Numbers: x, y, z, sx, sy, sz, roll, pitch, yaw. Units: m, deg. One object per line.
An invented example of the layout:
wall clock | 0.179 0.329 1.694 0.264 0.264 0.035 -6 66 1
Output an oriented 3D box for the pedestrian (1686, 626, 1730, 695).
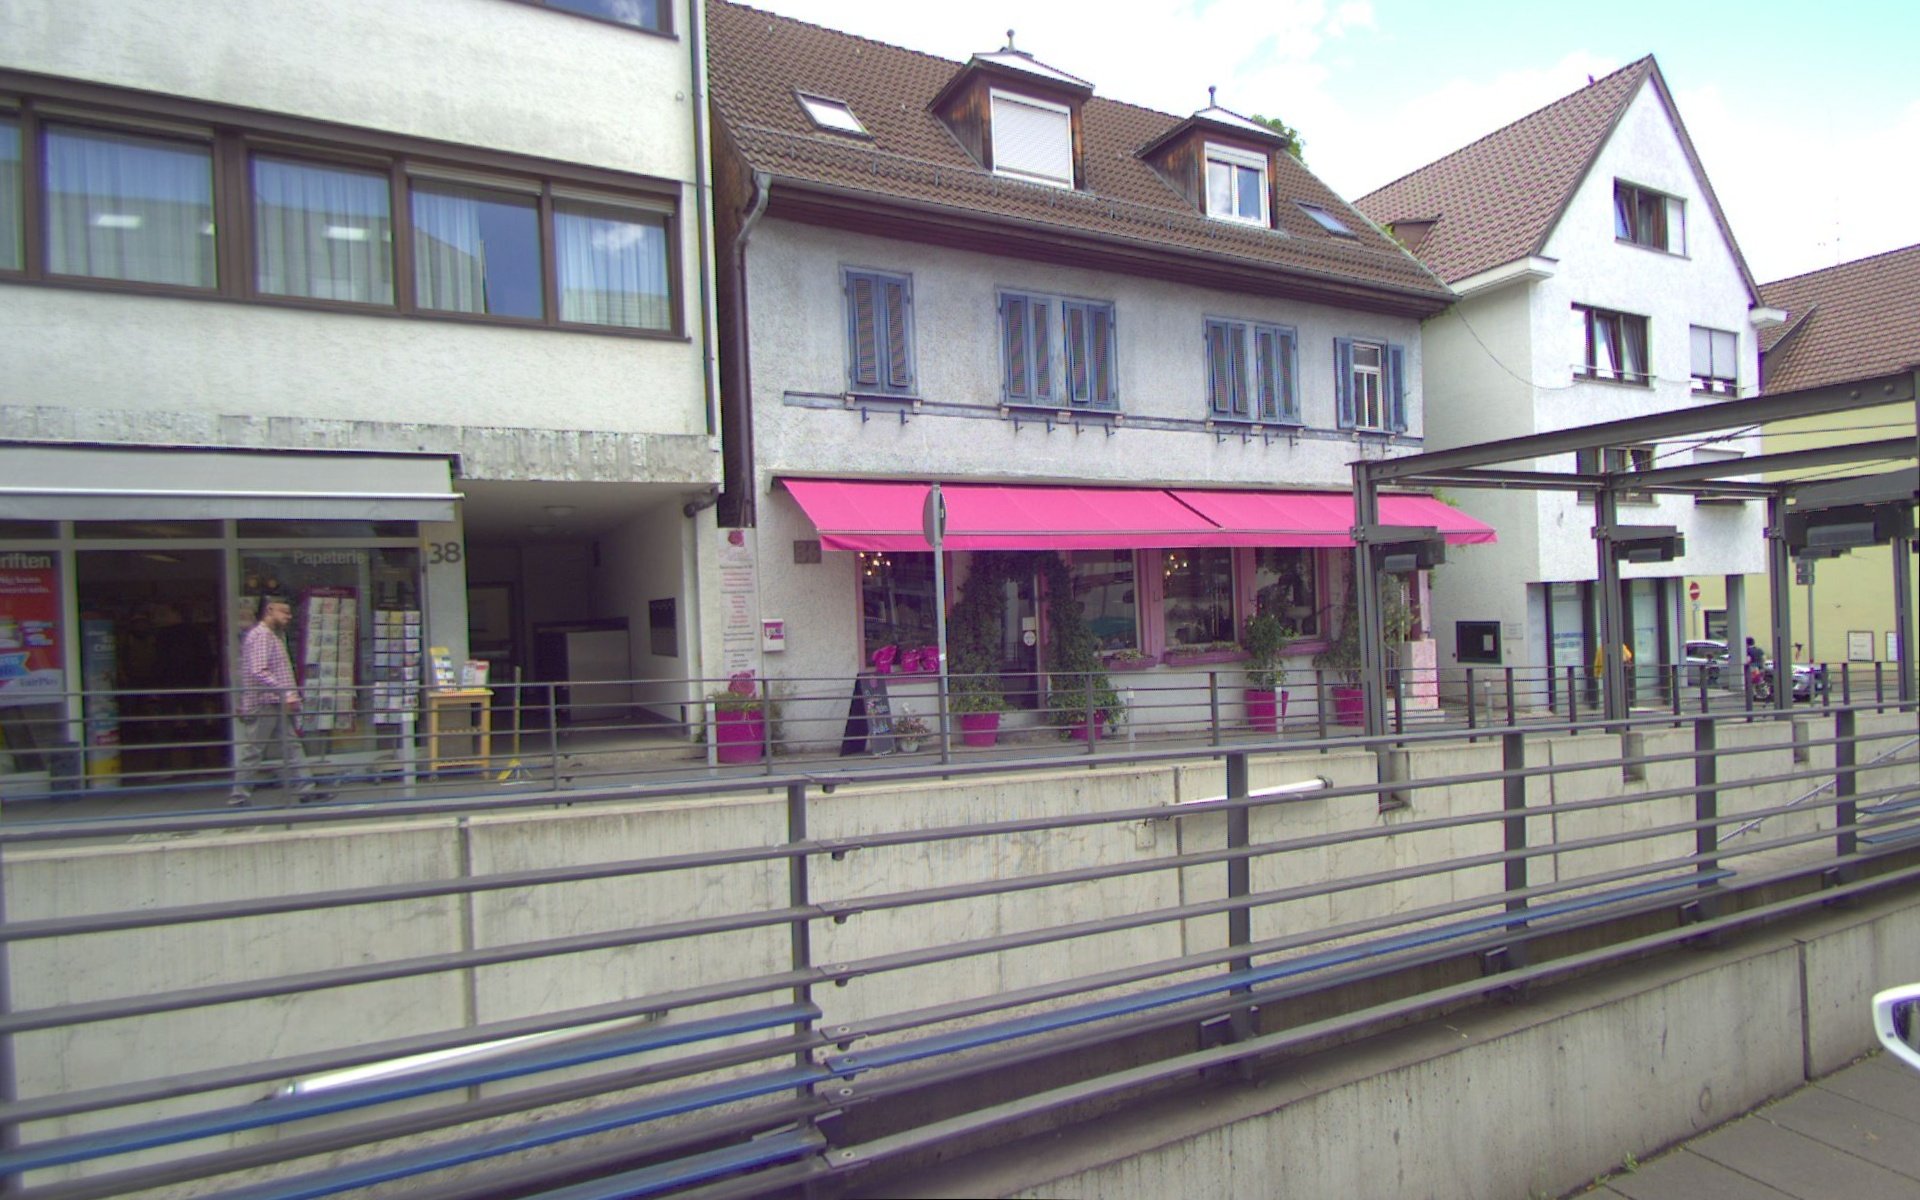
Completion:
pedestrian | 19.061 1.521 25.593 0.722 1.711 0.648 1 0 -32

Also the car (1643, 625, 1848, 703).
car | 21.620 1.706 27.882 1.805 1.754 4.178 1 2 -16

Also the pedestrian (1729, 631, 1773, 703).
pedestrian | 19.574 1.642 24.850 0.671 1.711 0.622 1 0 -30

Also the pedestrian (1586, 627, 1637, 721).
pedestrian | 12.193 1.364 18.800 0.570 1.711 0.575 1 0 -30

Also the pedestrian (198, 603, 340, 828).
pedestrian | -5.551 0.897 8.124 0.816 1.711 0.637 1 -2 -25
